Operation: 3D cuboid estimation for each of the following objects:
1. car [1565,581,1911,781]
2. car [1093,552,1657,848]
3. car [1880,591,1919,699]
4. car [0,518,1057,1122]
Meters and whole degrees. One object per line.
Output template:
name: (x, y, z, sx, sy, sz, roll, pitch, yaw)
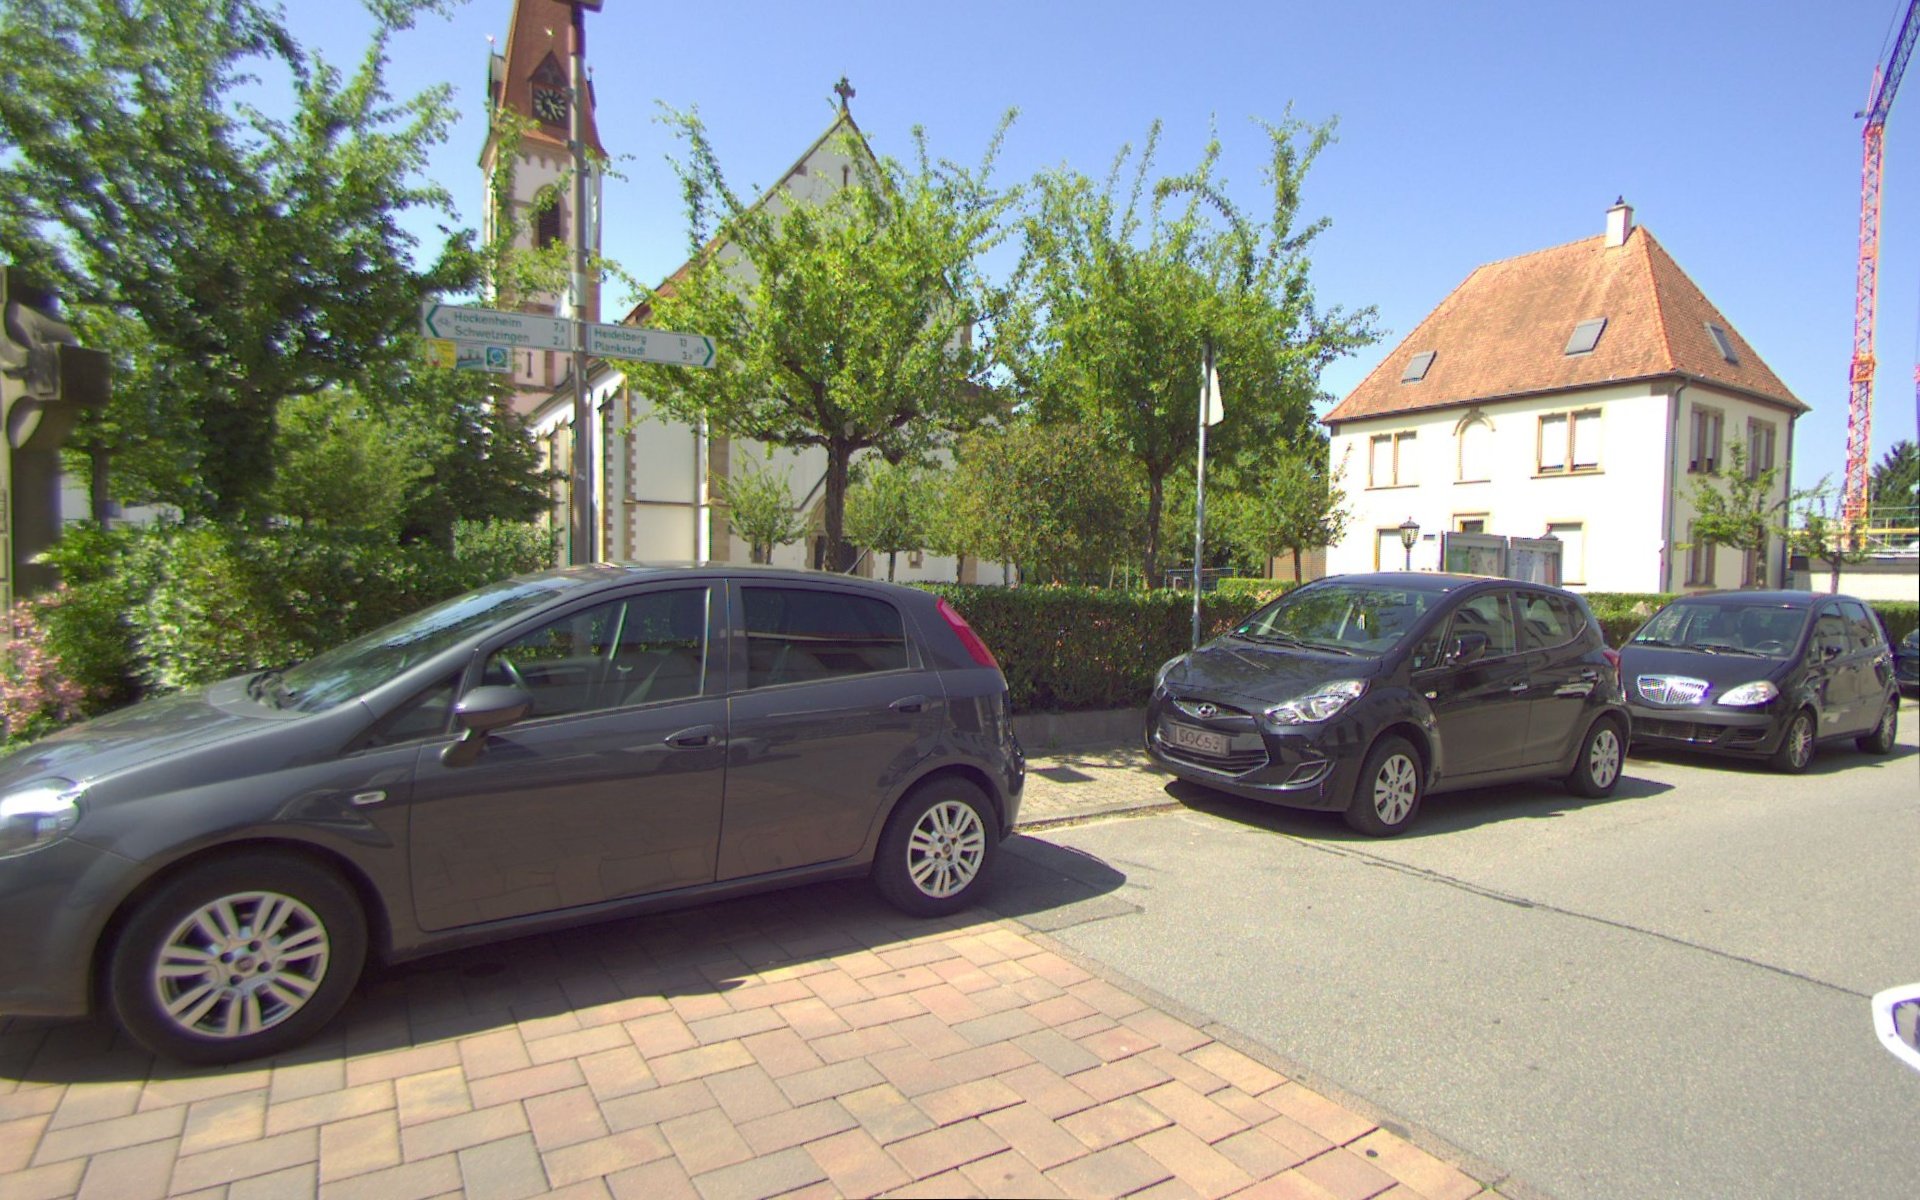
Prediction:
car: (7.920, 0.672, 10.150, 3.728, 1.651, 1.627, 0, 2, -34)
car: (3.105, 0.537, 7.342, 3.979, 1.626, 1.805, 0, 2, -32)
car: (16.763, 0.730, 16.283, 4.174, 1.652, 1.814, 0, 2, -35)
car: (-1.595, 0.535, 4.154, 3.820, 1.517, 1.690, 0, 2, -36)
